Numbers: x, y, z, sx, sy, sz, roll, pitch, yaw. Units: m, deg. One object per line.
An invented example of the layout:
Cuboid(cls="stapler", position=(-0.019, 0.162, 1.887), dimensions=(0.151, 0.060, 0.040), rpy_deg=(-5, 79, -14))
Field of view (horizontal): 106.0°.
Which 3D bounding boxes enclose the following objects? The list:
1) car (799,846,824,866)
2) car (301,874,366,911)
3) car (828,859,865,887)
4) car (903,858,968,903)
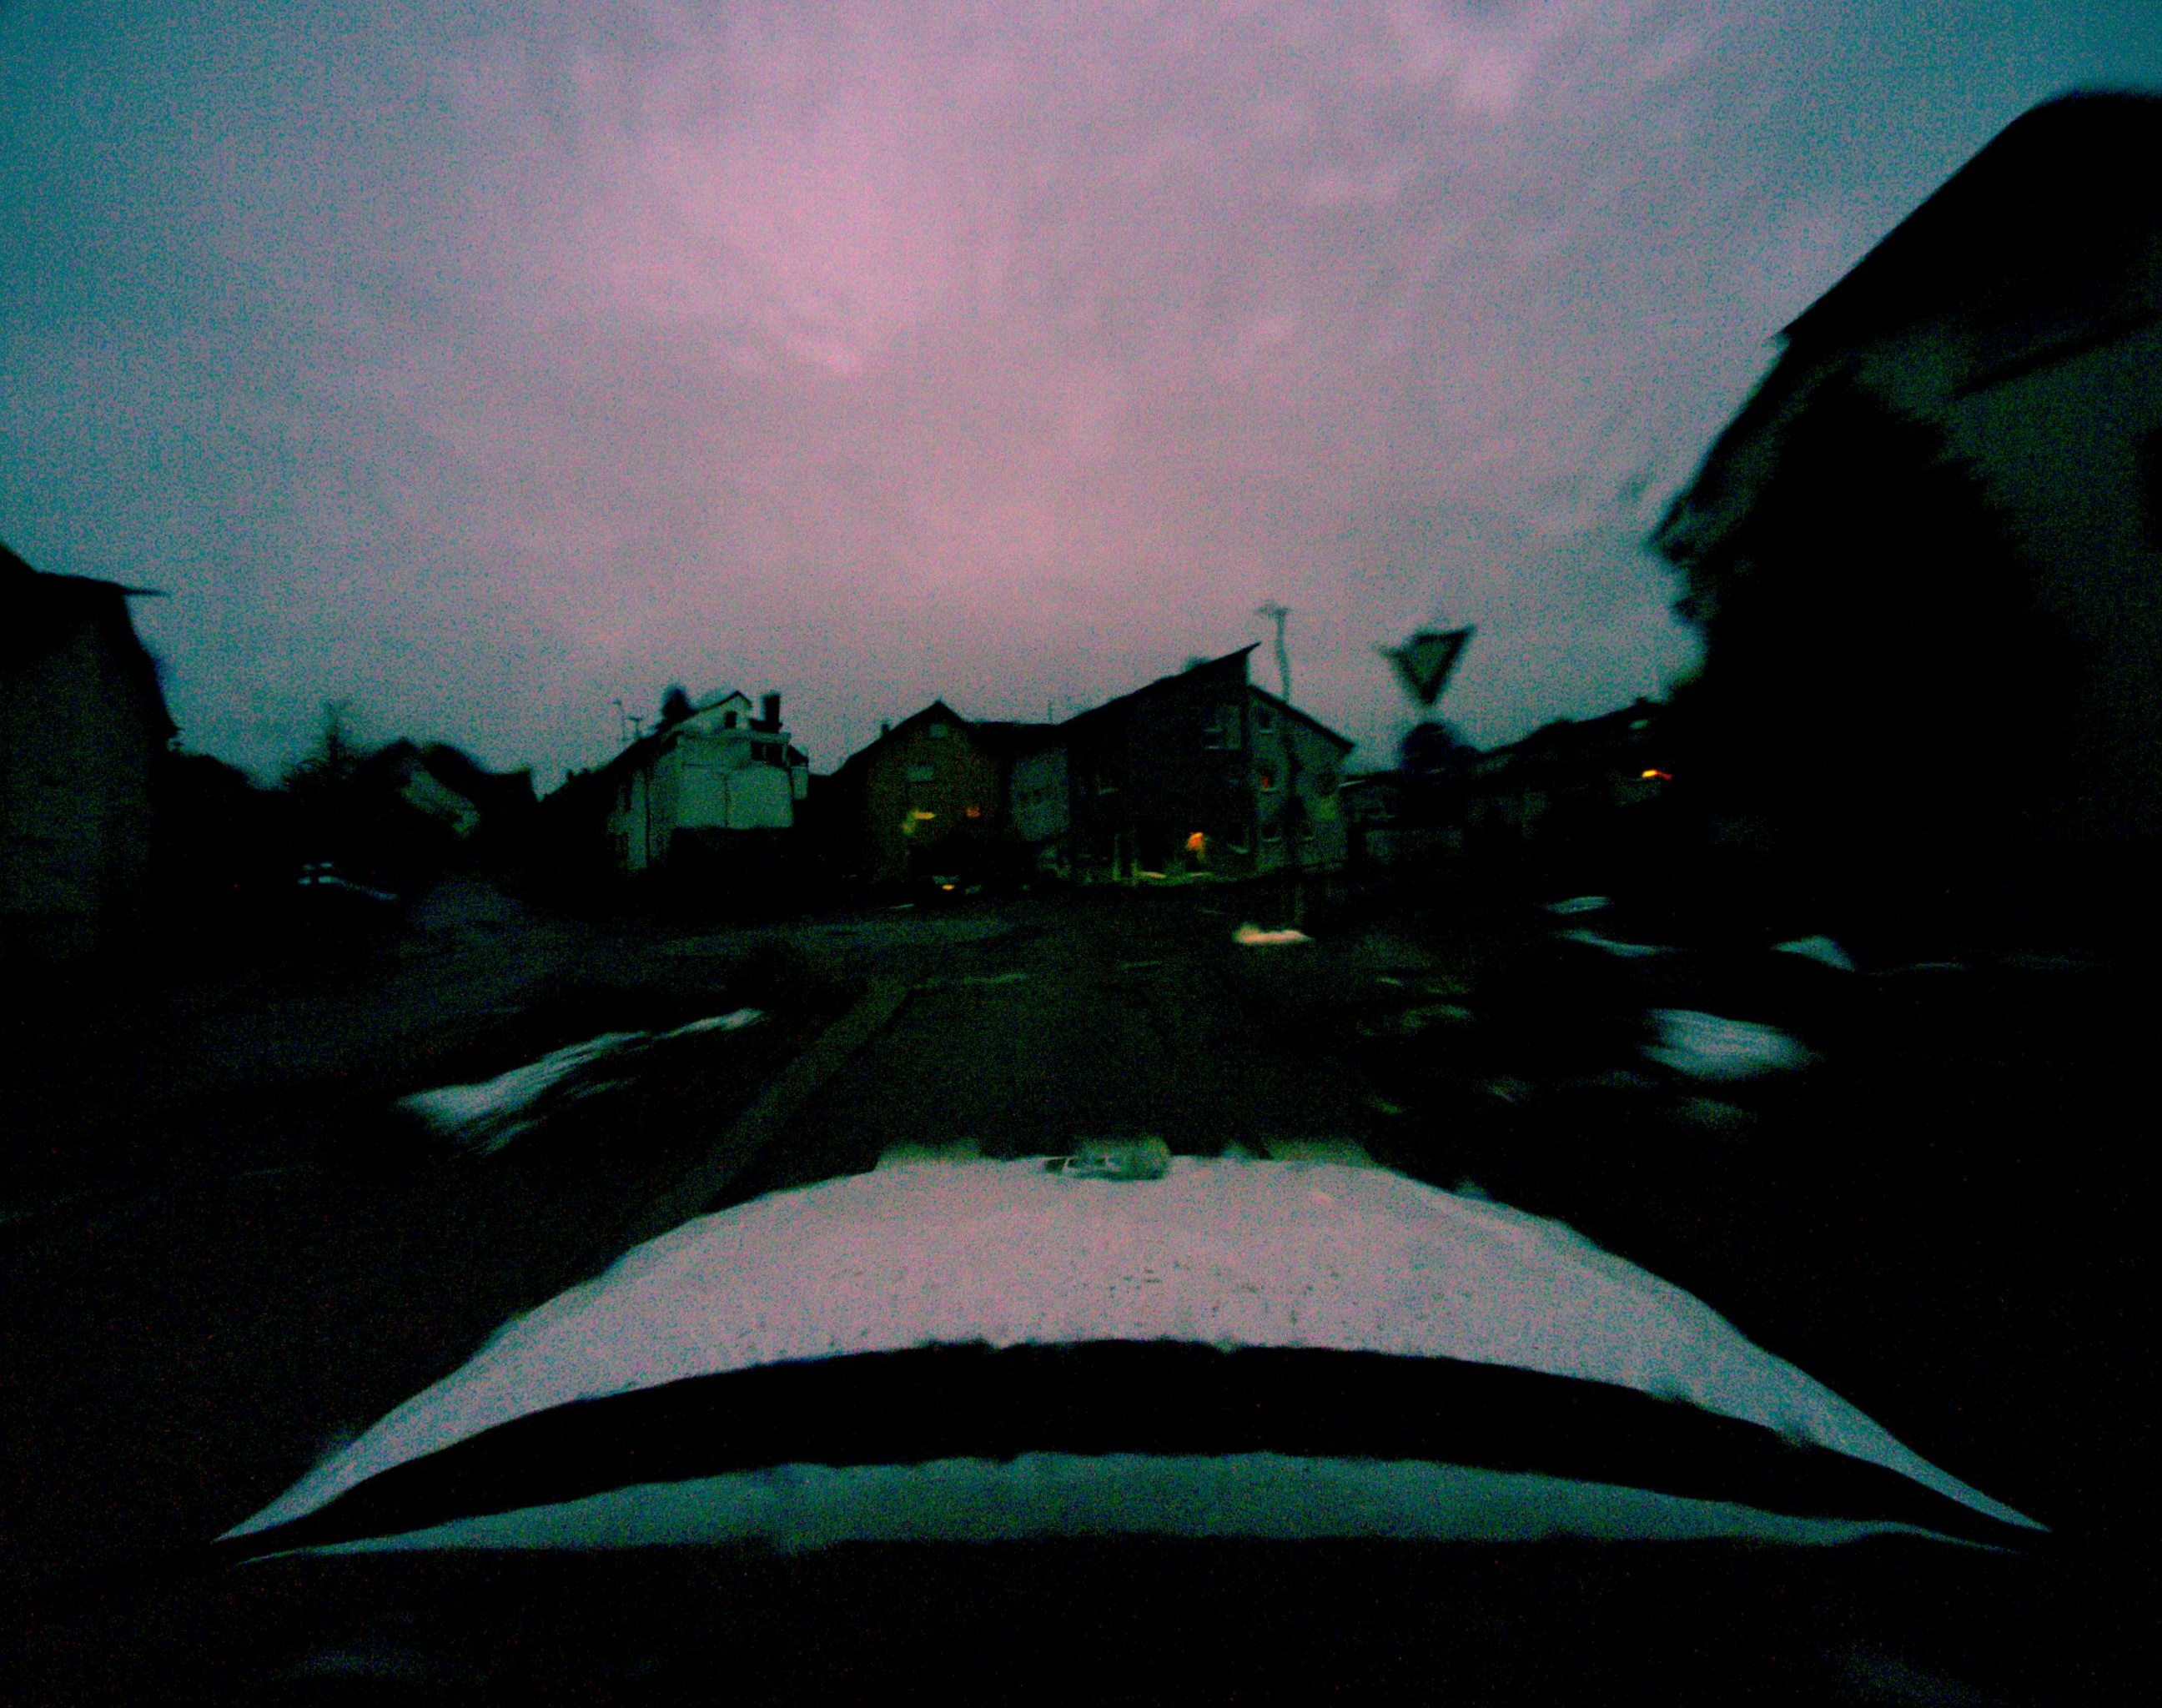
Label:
Cuboid(cls="car", position=(-23.444, 0.179, 70.792), dimensions=(2.000, 1.644, 3.974), rpy_deg=(-2, 0, -19))
Cuboid(cls="car", position=(-34.738, 1.777, 37.948), dimensions=(1.943, 1.517, 3.953), rpy_deg=(-2, 0, -39))
Cuboid(cls="car", position=(-14.773, 1.160, 51.102), dimensions=(2.000, 1.644, 3.974), rpy_deg=(-2, 0, -19))
Cuboid(cls="car", position=(-5.992, 1.005, 33.115), dimensions=(2.000, 1.644, 3.974), rpy_deg=(-2, 0, -19))
